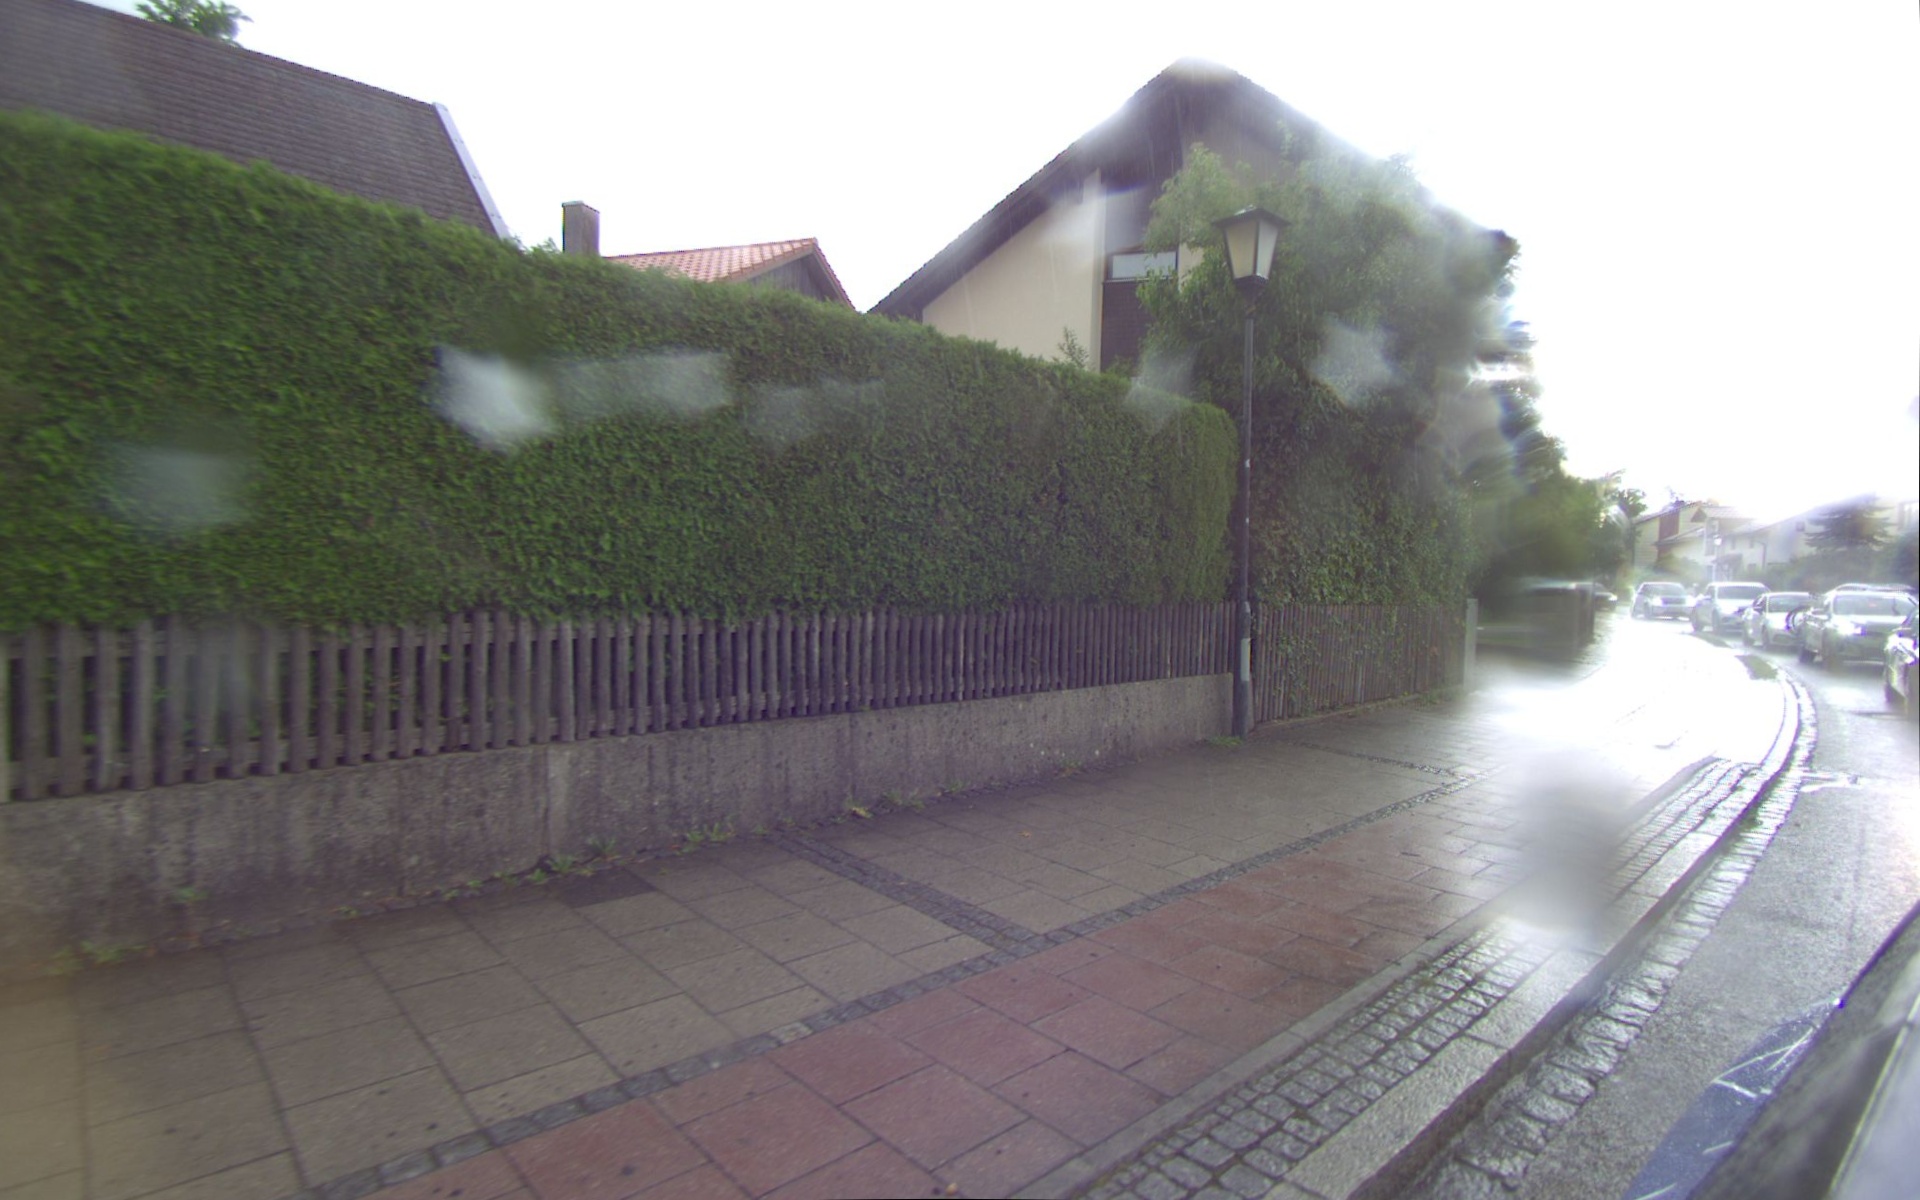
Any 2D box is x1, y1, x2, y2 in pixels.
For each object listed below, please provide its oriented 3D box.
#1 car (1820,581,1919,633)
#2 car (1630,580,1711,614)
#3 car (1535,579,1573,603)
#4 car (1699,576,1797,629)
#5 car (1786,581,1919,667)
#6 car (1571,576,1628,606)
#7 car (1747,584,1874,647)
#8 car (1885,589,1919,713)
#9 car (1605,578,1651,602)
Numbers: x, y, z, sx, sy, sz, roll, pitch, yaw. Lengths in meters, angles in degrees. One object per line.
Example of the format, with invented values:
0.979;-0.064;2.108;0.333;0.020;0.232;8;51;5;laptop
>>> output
30.404;0.202;33.375;1.978;1.615;4.157;0;0;24;car
30.574;-0.149;43.663;1.773;1.390;4.253;0;1;20;car
39.471;-0.593;67.321;1.776;1.568;4.244;0;1;25;car
24.896;0.033;32.110;1.779;1.568;4.238;0;1;29;car
18.002;0.378;20.041;1.781;1.497;5.326;0;1;31;car
35.134;-0.516;55.689;1.773;1.568;4.253;0;1;20;car
21.262;0.328;25.470;1.781;1.412;4.234;0;1;31;car
12.775;0.592;12.385;1.785;1.412;4.223;0;1;38;car
45.102;-0.684;68.411;1.774;1.568;4.251;0;1;21;car
